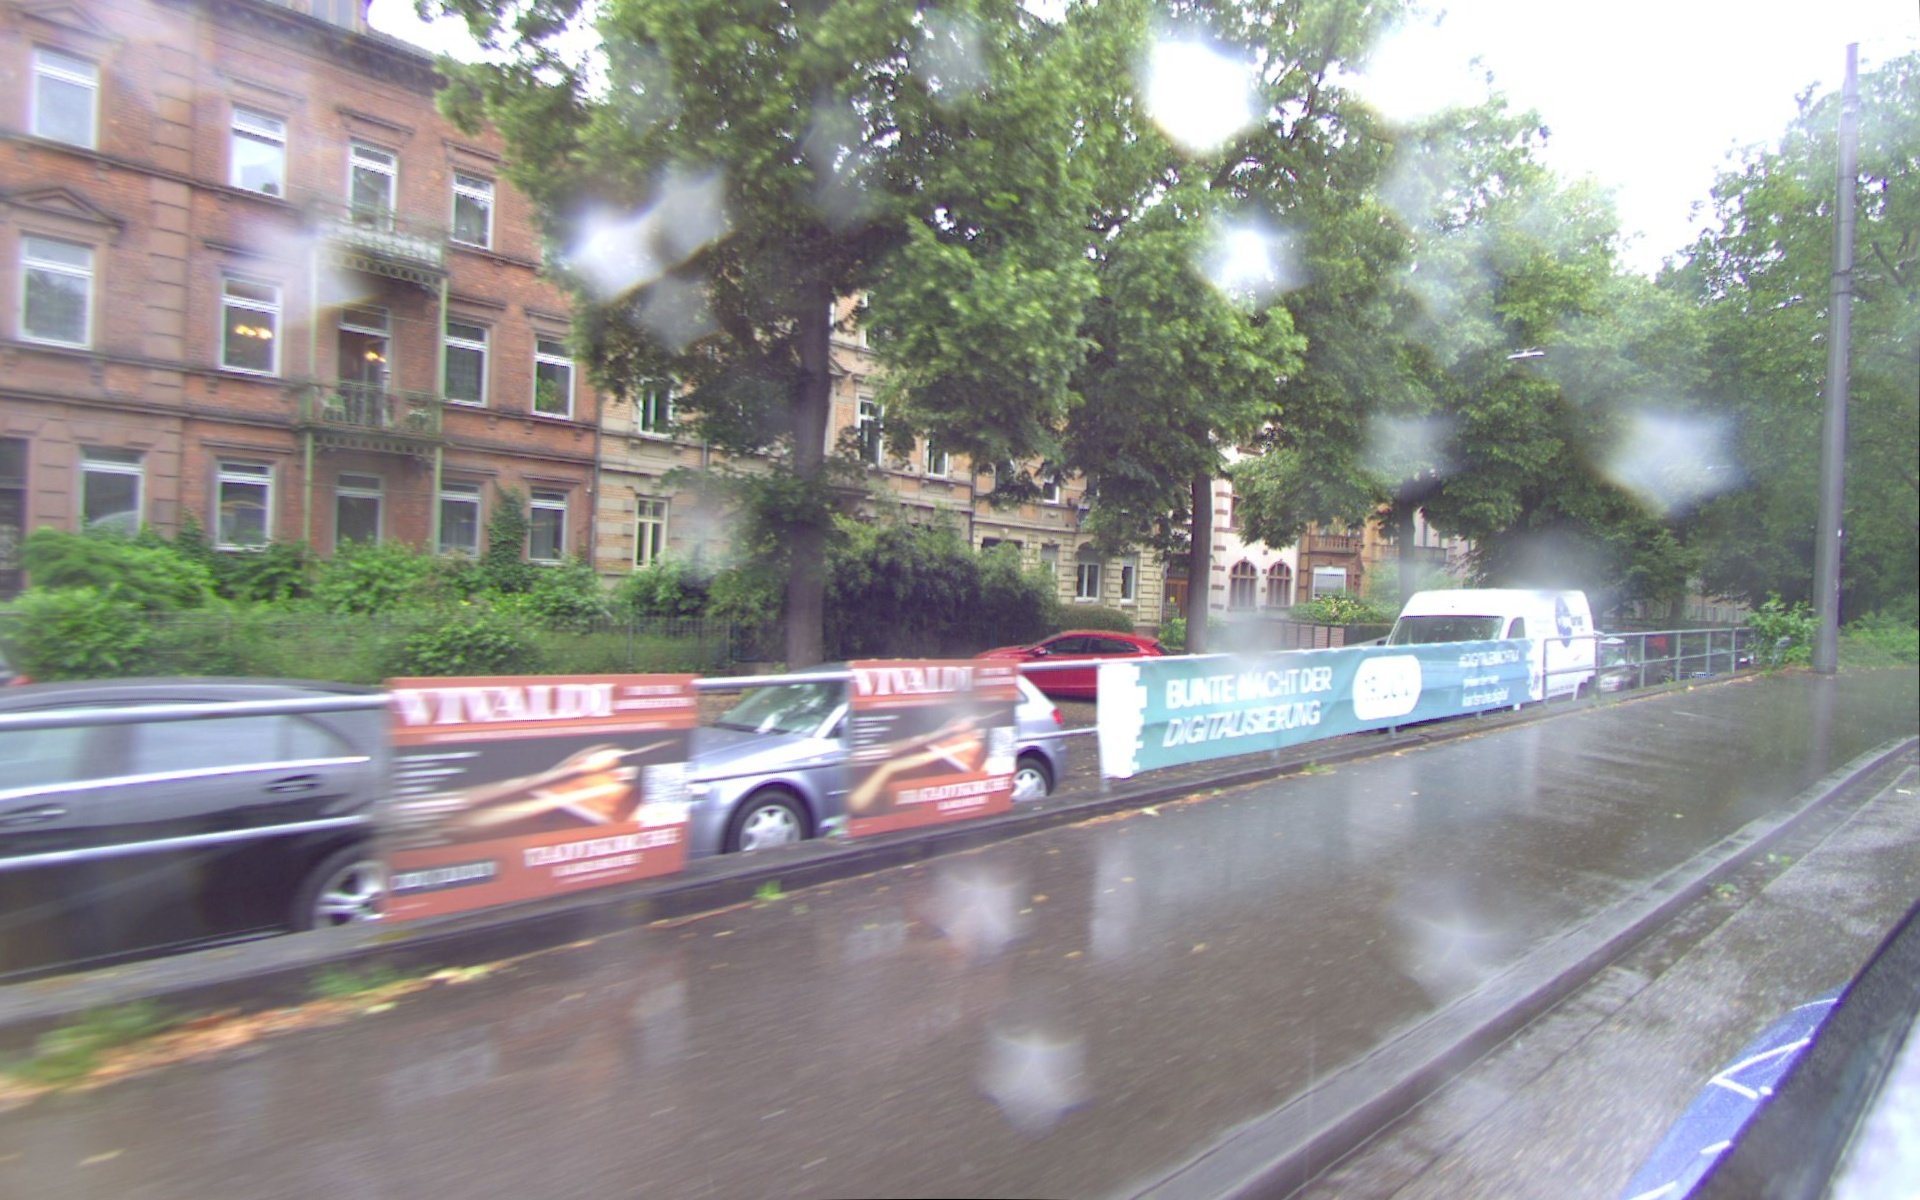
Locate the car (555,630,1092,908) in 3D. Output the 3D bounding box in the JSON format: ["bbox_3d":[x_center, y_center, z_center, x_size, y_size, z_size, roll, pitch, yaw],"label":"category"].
[{"bbox_3d":[-0.904,1.074,8.106,4.005,1.559,1.734,0,0,-42],"label":"car"}]

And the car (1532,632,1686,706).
[{"bbox_3d":[14.533,1.464,22.567,4.312,1.370,1.968,0,-1,-44],"label":"car"}]

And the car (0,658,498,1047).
[{"bbox_3d":[-4.481,1.099,4.741,3.903,1.418,1.706,0,0,-41],"label":"car"}]

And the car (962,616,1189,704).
[{"bbox_3d":[2.418,1.177,20.951,4.373,1.471,1.888,2,0,18],"label":"car"}]

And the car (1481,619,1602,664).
[{"bbox_3d":[23.664,1.658,41.335,3.948,1.629,1.814,1,0,19],"label":"car"}]

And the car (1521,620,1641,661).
[{"bbox_3d":[26.569,1.705,43.413,3.942,1.585,1.991,1,0,15],"label":"car"}]

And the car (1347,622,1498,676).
[{"bbox_3d":[14.562,1.512,32.079,4.214,1.397,1.679,2,2,23],"label":"car"}]

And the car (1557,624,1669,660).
[{"bbox_3d":[30.157,1.923,46.875,3.942,1.482,1.904,1,0,15],"label":"car"}]

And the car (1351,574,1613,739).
[{"bbox_3d":[9.384,0.847,17.873,6.055,2.451,2.211,0,-1,-43],"label":"car"}]

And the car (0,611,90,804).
[{"bbox_3d":[-10.669,0.971,9.122,3.923,1.735,2.001,1,0,-1],"label":"car"}]
